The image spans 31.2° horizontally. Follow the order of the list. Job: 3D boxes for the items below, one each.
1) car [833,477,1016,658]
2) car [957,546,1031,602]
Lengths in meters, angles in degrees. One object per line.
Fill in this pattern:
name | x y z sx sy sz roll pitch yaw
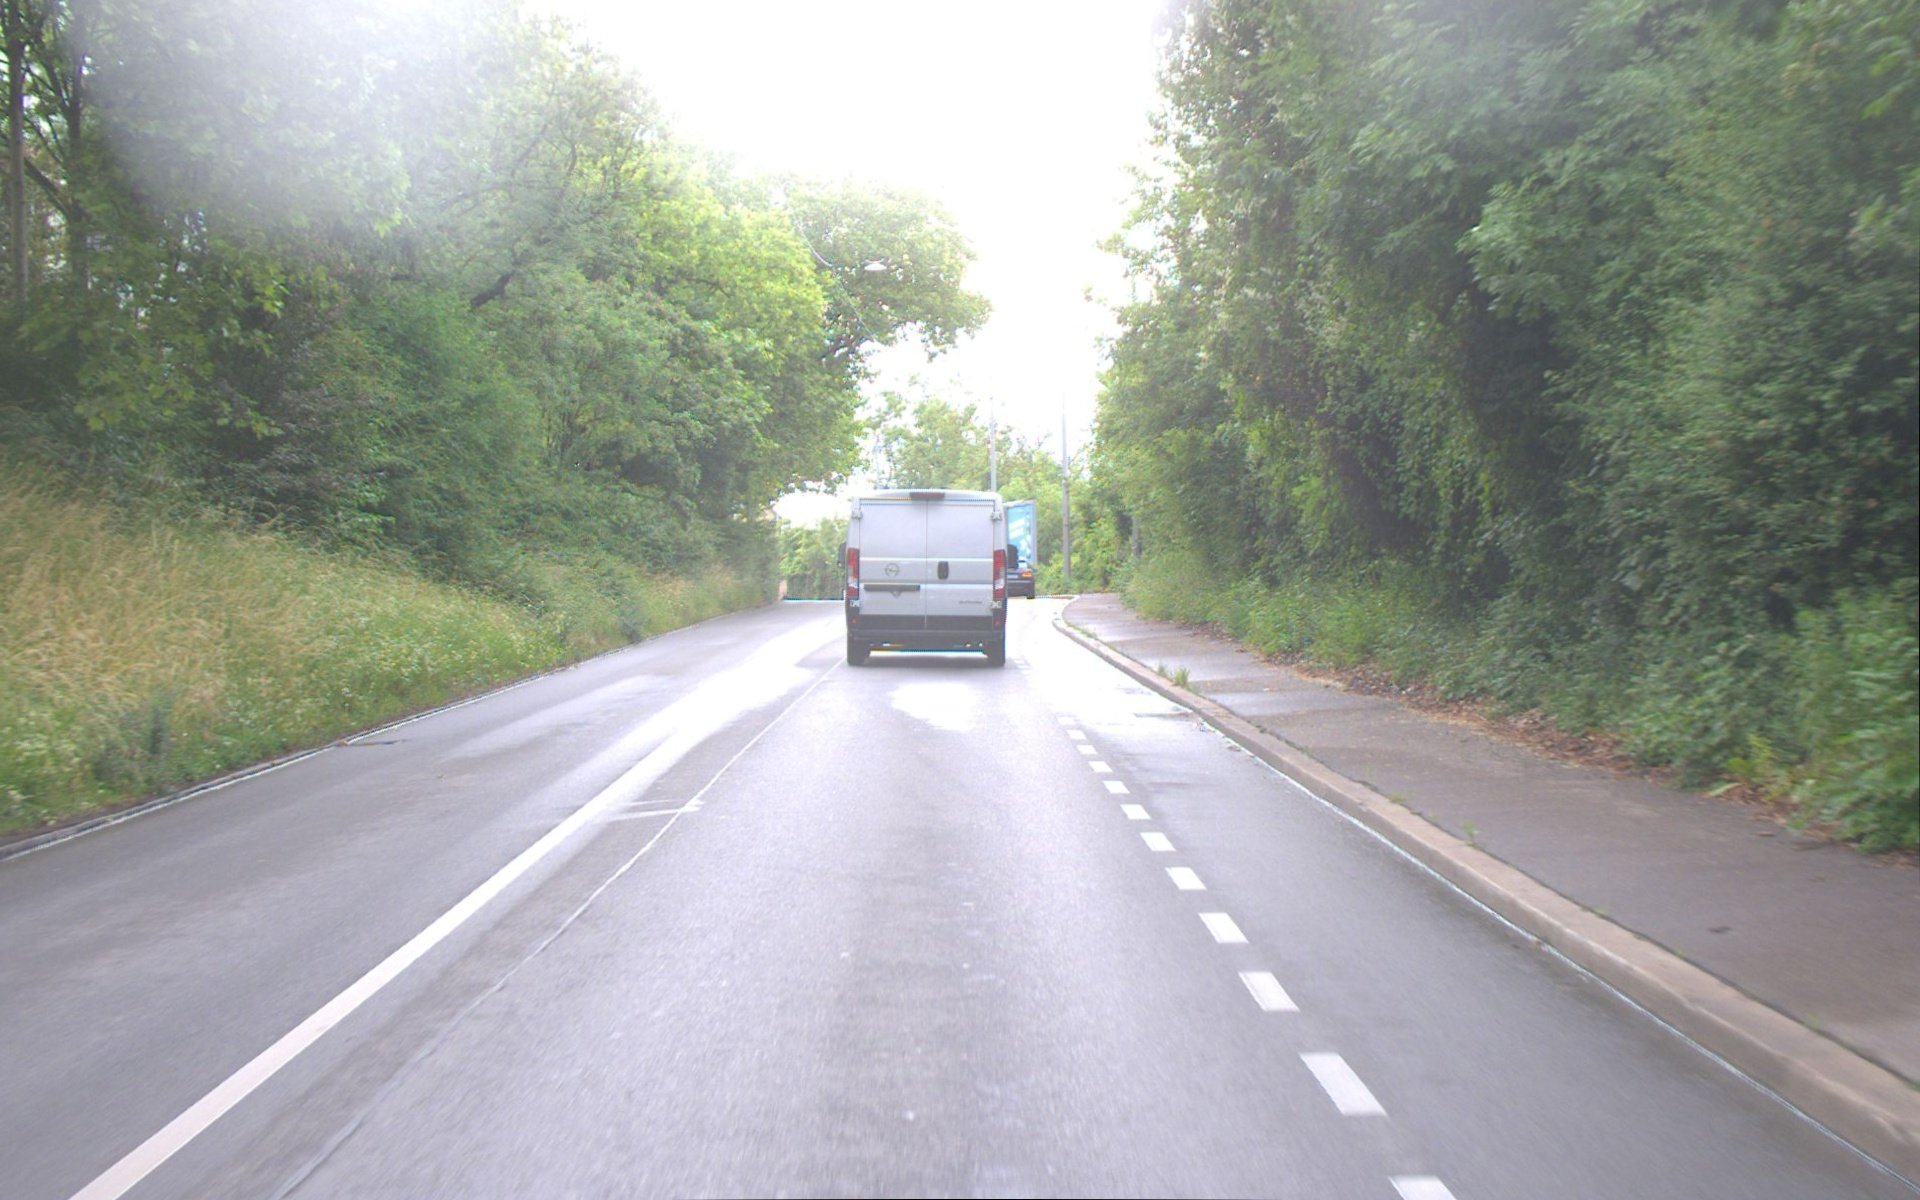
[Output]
car | -0.462 -0.426 44.922 2.237 2.205 4.713 1 1 -1
car | 1.093 -0.879 114.429 2.237 1.798 4.714 1 1 -2
